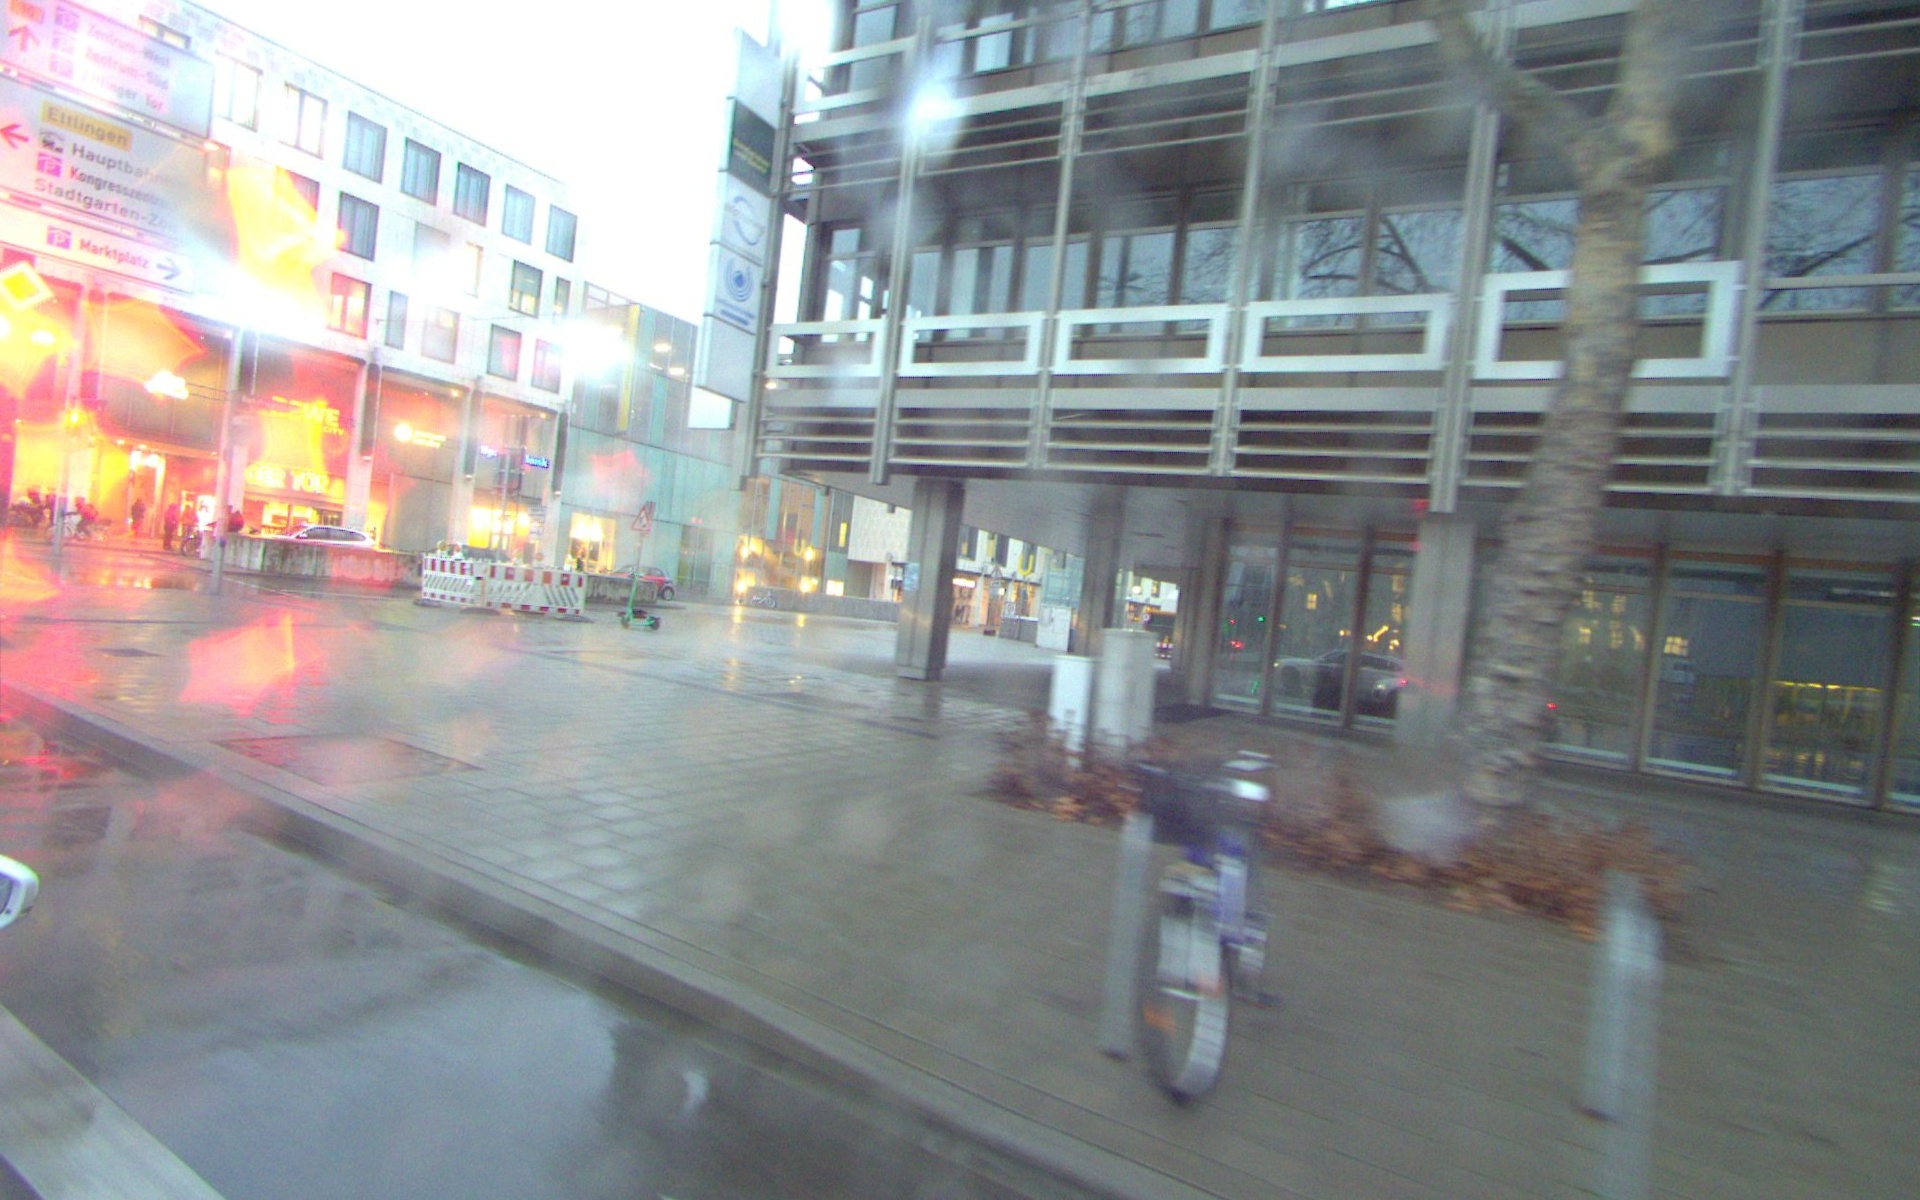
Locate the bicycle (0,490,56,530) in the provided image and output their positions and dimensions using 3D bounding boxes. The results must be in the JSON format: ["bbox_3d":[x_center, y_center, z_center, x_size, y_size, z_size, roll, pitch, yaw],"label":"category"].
[{"bbox_3d":[-38.001,-3.651,40.343,0.623,1.345,2.431,7,0,27],"label":"bicycle"}]

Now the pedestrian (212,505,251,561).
[{"bbox_3d":[-22.314,-2.052,30.802,0.778,1.615,0.605,6,1,-43],"label":"pedestrian"}]

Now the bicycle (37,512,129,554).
[{"bbox_3d":[-28.420,-2.157,32.635,0.532,1.003,2.134,6,-2,28],"label":"bicycle"}]

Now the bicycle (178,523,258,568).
[{"bbox_3d":[-22.578,-1.649,30.618,1.839,1.107,0.610,7,0,-43],"label":"bicycle"}]

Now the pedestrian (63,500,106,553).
[{"bbox_3d":[-28.410,-2.391,32.638,0.527,1.589,0.816,7,1,28],"label":"pedestrian"}]

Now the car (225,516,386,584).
[{"bbox_3d":[-22.753,-1.691,35.141,1.680,1.783,4.304,7,0,35],"label":"car"}]

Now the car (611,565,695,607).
[{"bbox_3d":[-14.725,-0.641,48.393,1.648,1.601,3.574,6,0,30],"label":"car"}]

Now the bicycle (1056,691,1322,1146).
[{"bbox_3d":[0.935,0.988,3.731,0.428,1.163,1.753,7,2,27],"label":"bicycle"}]

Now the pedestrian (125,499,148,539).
[{"bbox_3d":[-37.603,-3.697,45.940,0.529,1.739,0.500,6,1,-20],"label":"pedestrian"}]

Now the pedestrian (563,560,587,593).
[{"bbox_3d":[-20.462,-1.246,53.452,0.697,1.650,0.795,6,-1,32],"label":"pedestrian"}]

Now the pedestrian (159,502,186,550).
[{"bbox_3d":[-29.788,-2.792,38.052,0.529,1.706,0.546,6,1,-20],"label":"pedestrian"}]

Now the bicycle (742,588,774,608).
[{"bbox_3d":[-12.756,-0.107,63.484,2.102,1.046,0.616,6,0,34],"label":"bicycle"}]

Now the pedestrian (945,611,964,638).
[{"bbox_3d":[-0.430,2.033,82.833,1.006,2.037,0.905,6,-1,35],"label":"pedestrian"}]

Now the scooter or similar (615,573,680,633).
[{"bbox_3d":[-6.758,0.057,21.729,1.215,1.144,0.606,7,1,32],"label":"scooter or similar"}]

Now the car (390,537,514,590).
[{"bbox_3d":[-20.068,-1.404,39.897,1.648,1.601,4.056,6,0,30],"label":"car"}]
